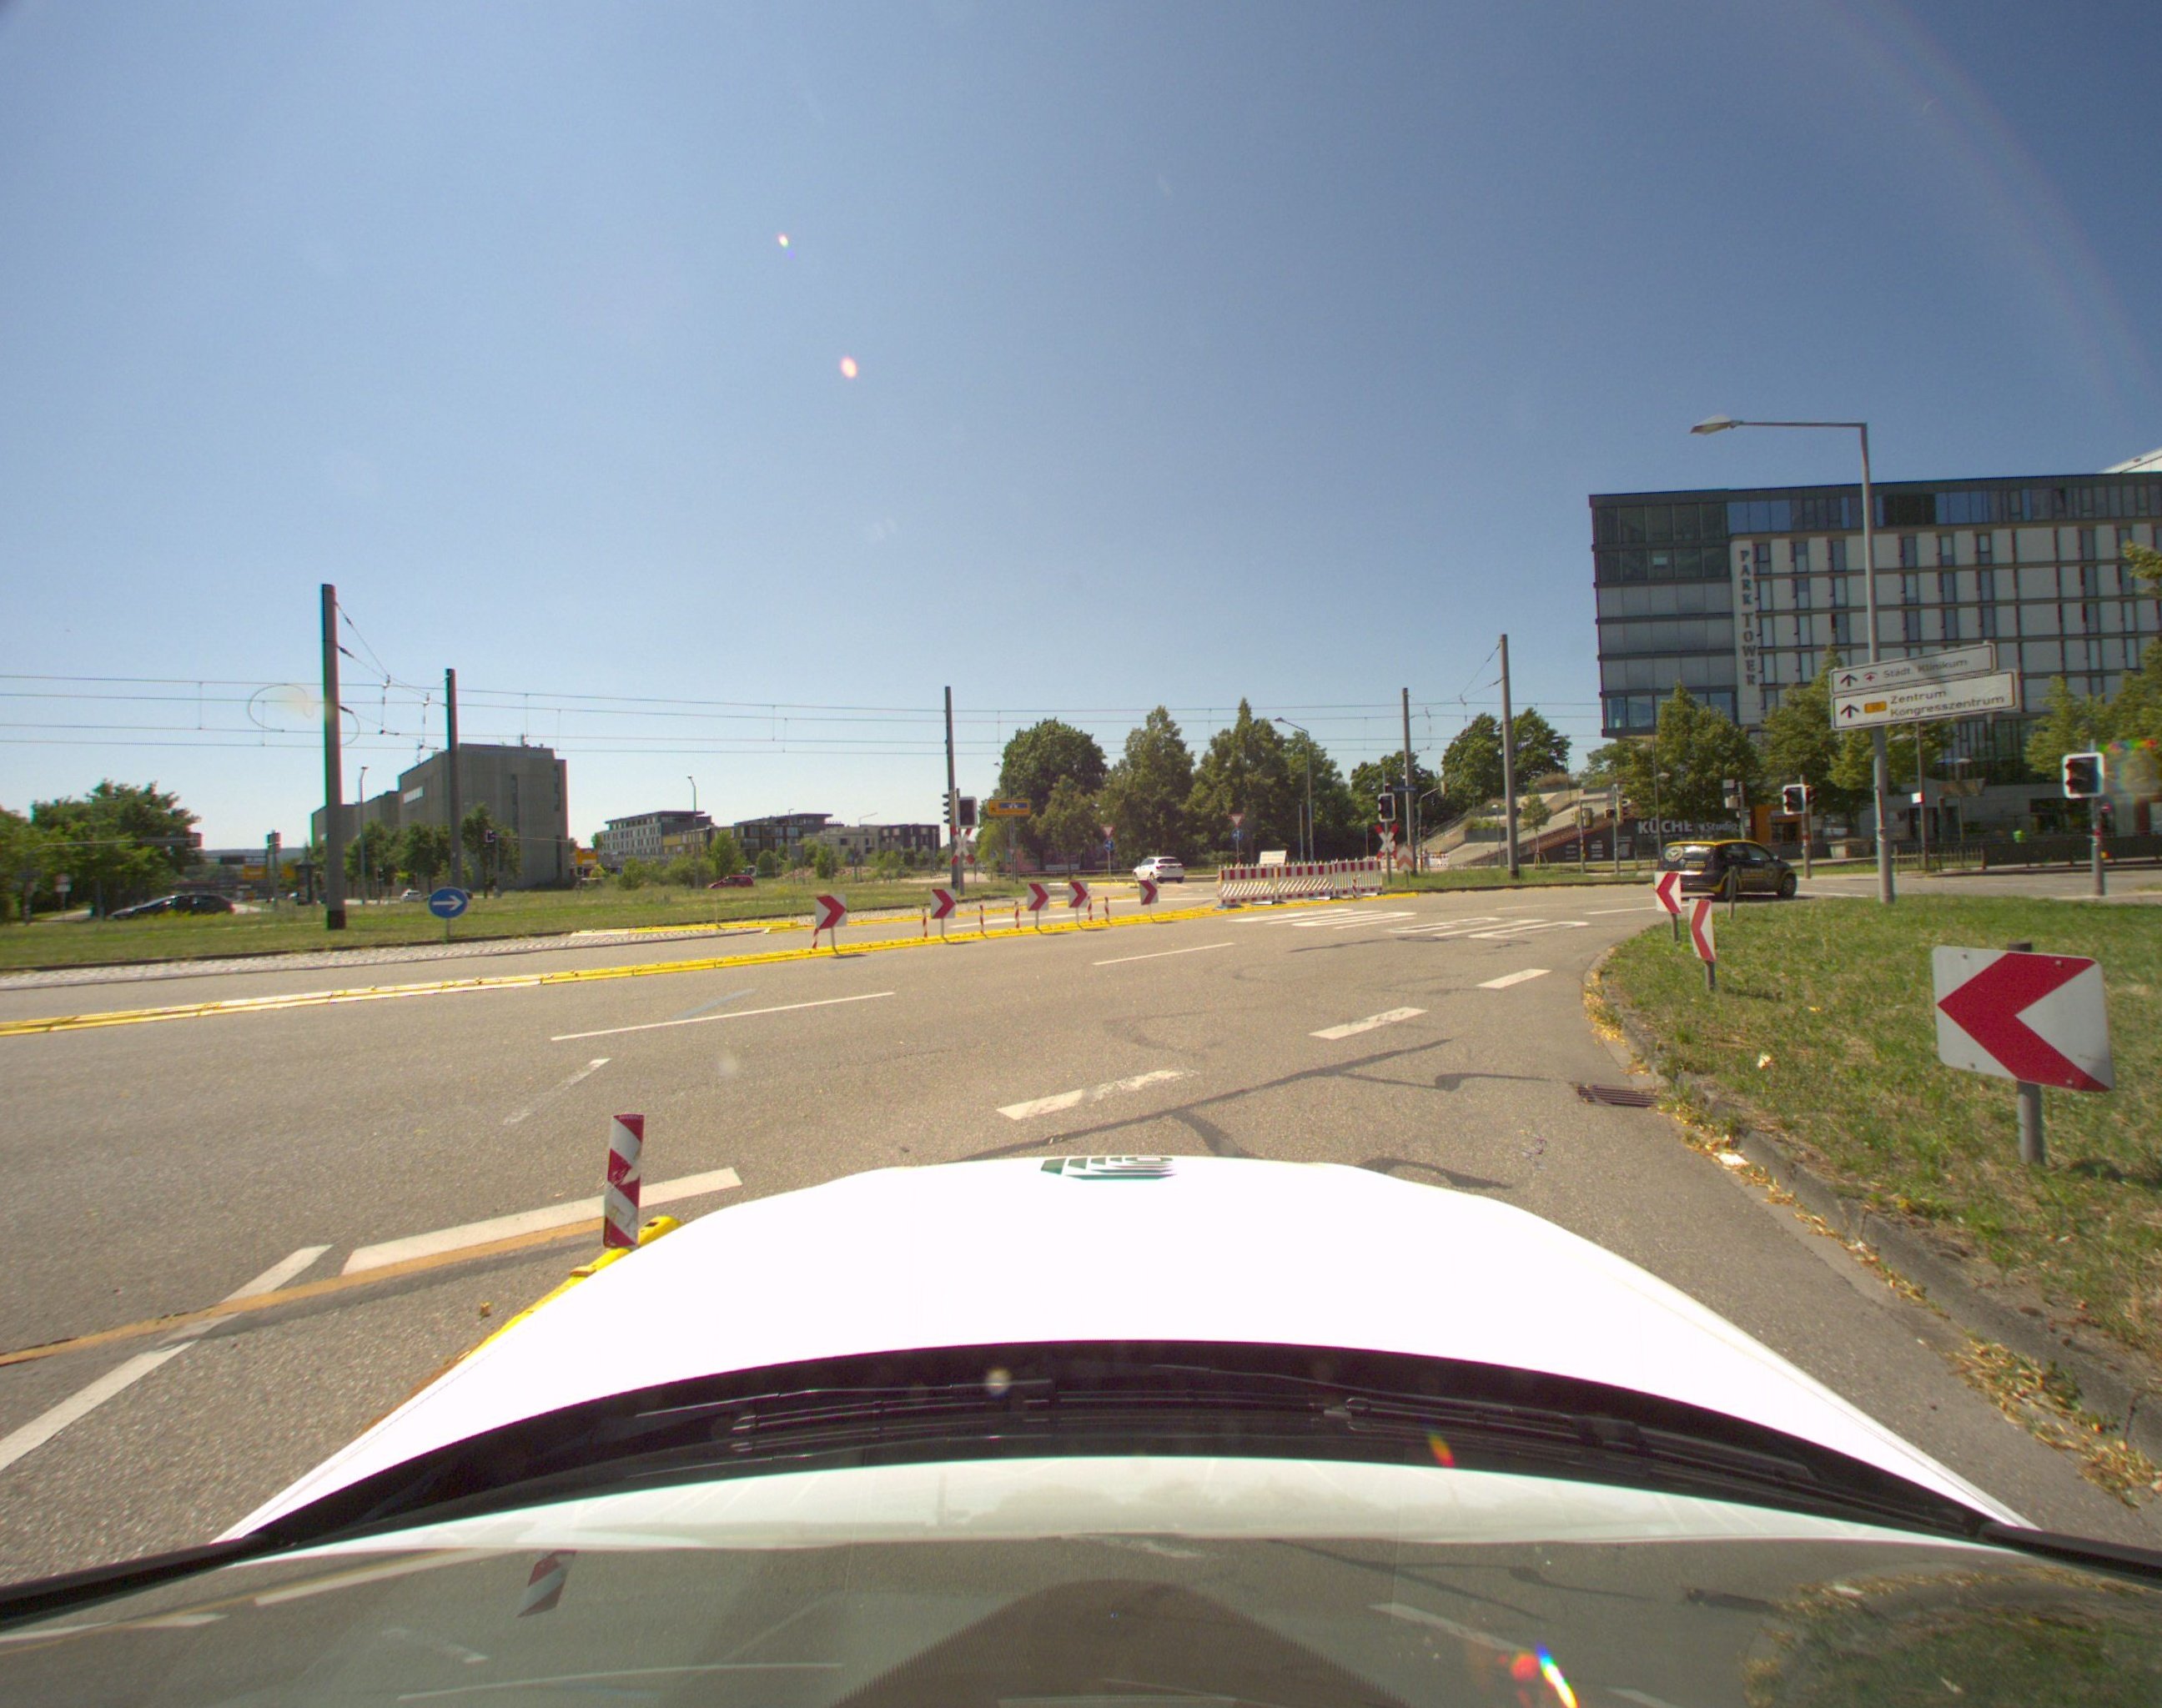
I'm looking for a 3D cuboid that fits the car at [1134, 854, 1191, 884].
[{"bbox_3d":[4.465,0.820,45.207,1.994,1.486,4.351,-2,0,-10],"label":"car"}]

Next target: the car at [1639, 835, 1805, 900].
[{"bbox_3d":[15.821,0.303,20.087,3.994,1.451,1.610,-1,-1,-26],"label":"car"}]

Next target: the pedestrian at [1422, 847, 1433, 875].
[{"bbox_3d":[21.711,0.454,51.045,0.446,1.739,0.318,-2,-1,-1],"label":"pedestrian"}]

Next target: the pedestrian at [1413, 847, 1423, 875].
[{"bbox_3d":[21.113,0.457,51.026,0.446,1.739,0.291,-2,-1,-1],"label":"pedestrian"}]

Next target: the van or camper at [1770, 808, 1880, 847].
[{"bbox_3d":[59.298,-2.085,65.003,6.748,2.822,2.381,-2,-1,-3],"label":"van or camper"}]

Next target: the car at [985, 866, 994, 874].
[{"bbox_3d":[-18.006,3.118,160.125,1.654,1.372,3.028,-2,-1,-3],"label":"car"}]

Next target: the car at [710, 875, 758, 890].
[{"bbox_3d":[-28.406,2.334,66.742,3.528,1.089,1.485,-2,0,-27],"label":"car"}]

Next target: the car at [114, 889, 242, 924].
[{"bbox_3d":[-45.546,2.638,41.154,1.707,1.461,4.074,-3,-1,31],"label":"car"}]

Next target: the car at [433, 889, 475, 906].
[{"bbox_3d":[-49.910,3.478,64.817,3.431,1.192,1.565,-2,0,33],"label":"car"}]

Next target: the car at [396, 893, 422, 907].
[{"bbox_3d":[-80.610,5.485,97.613,3.950,1.618,2.012,-3,-2,45],"label":"car"}]
